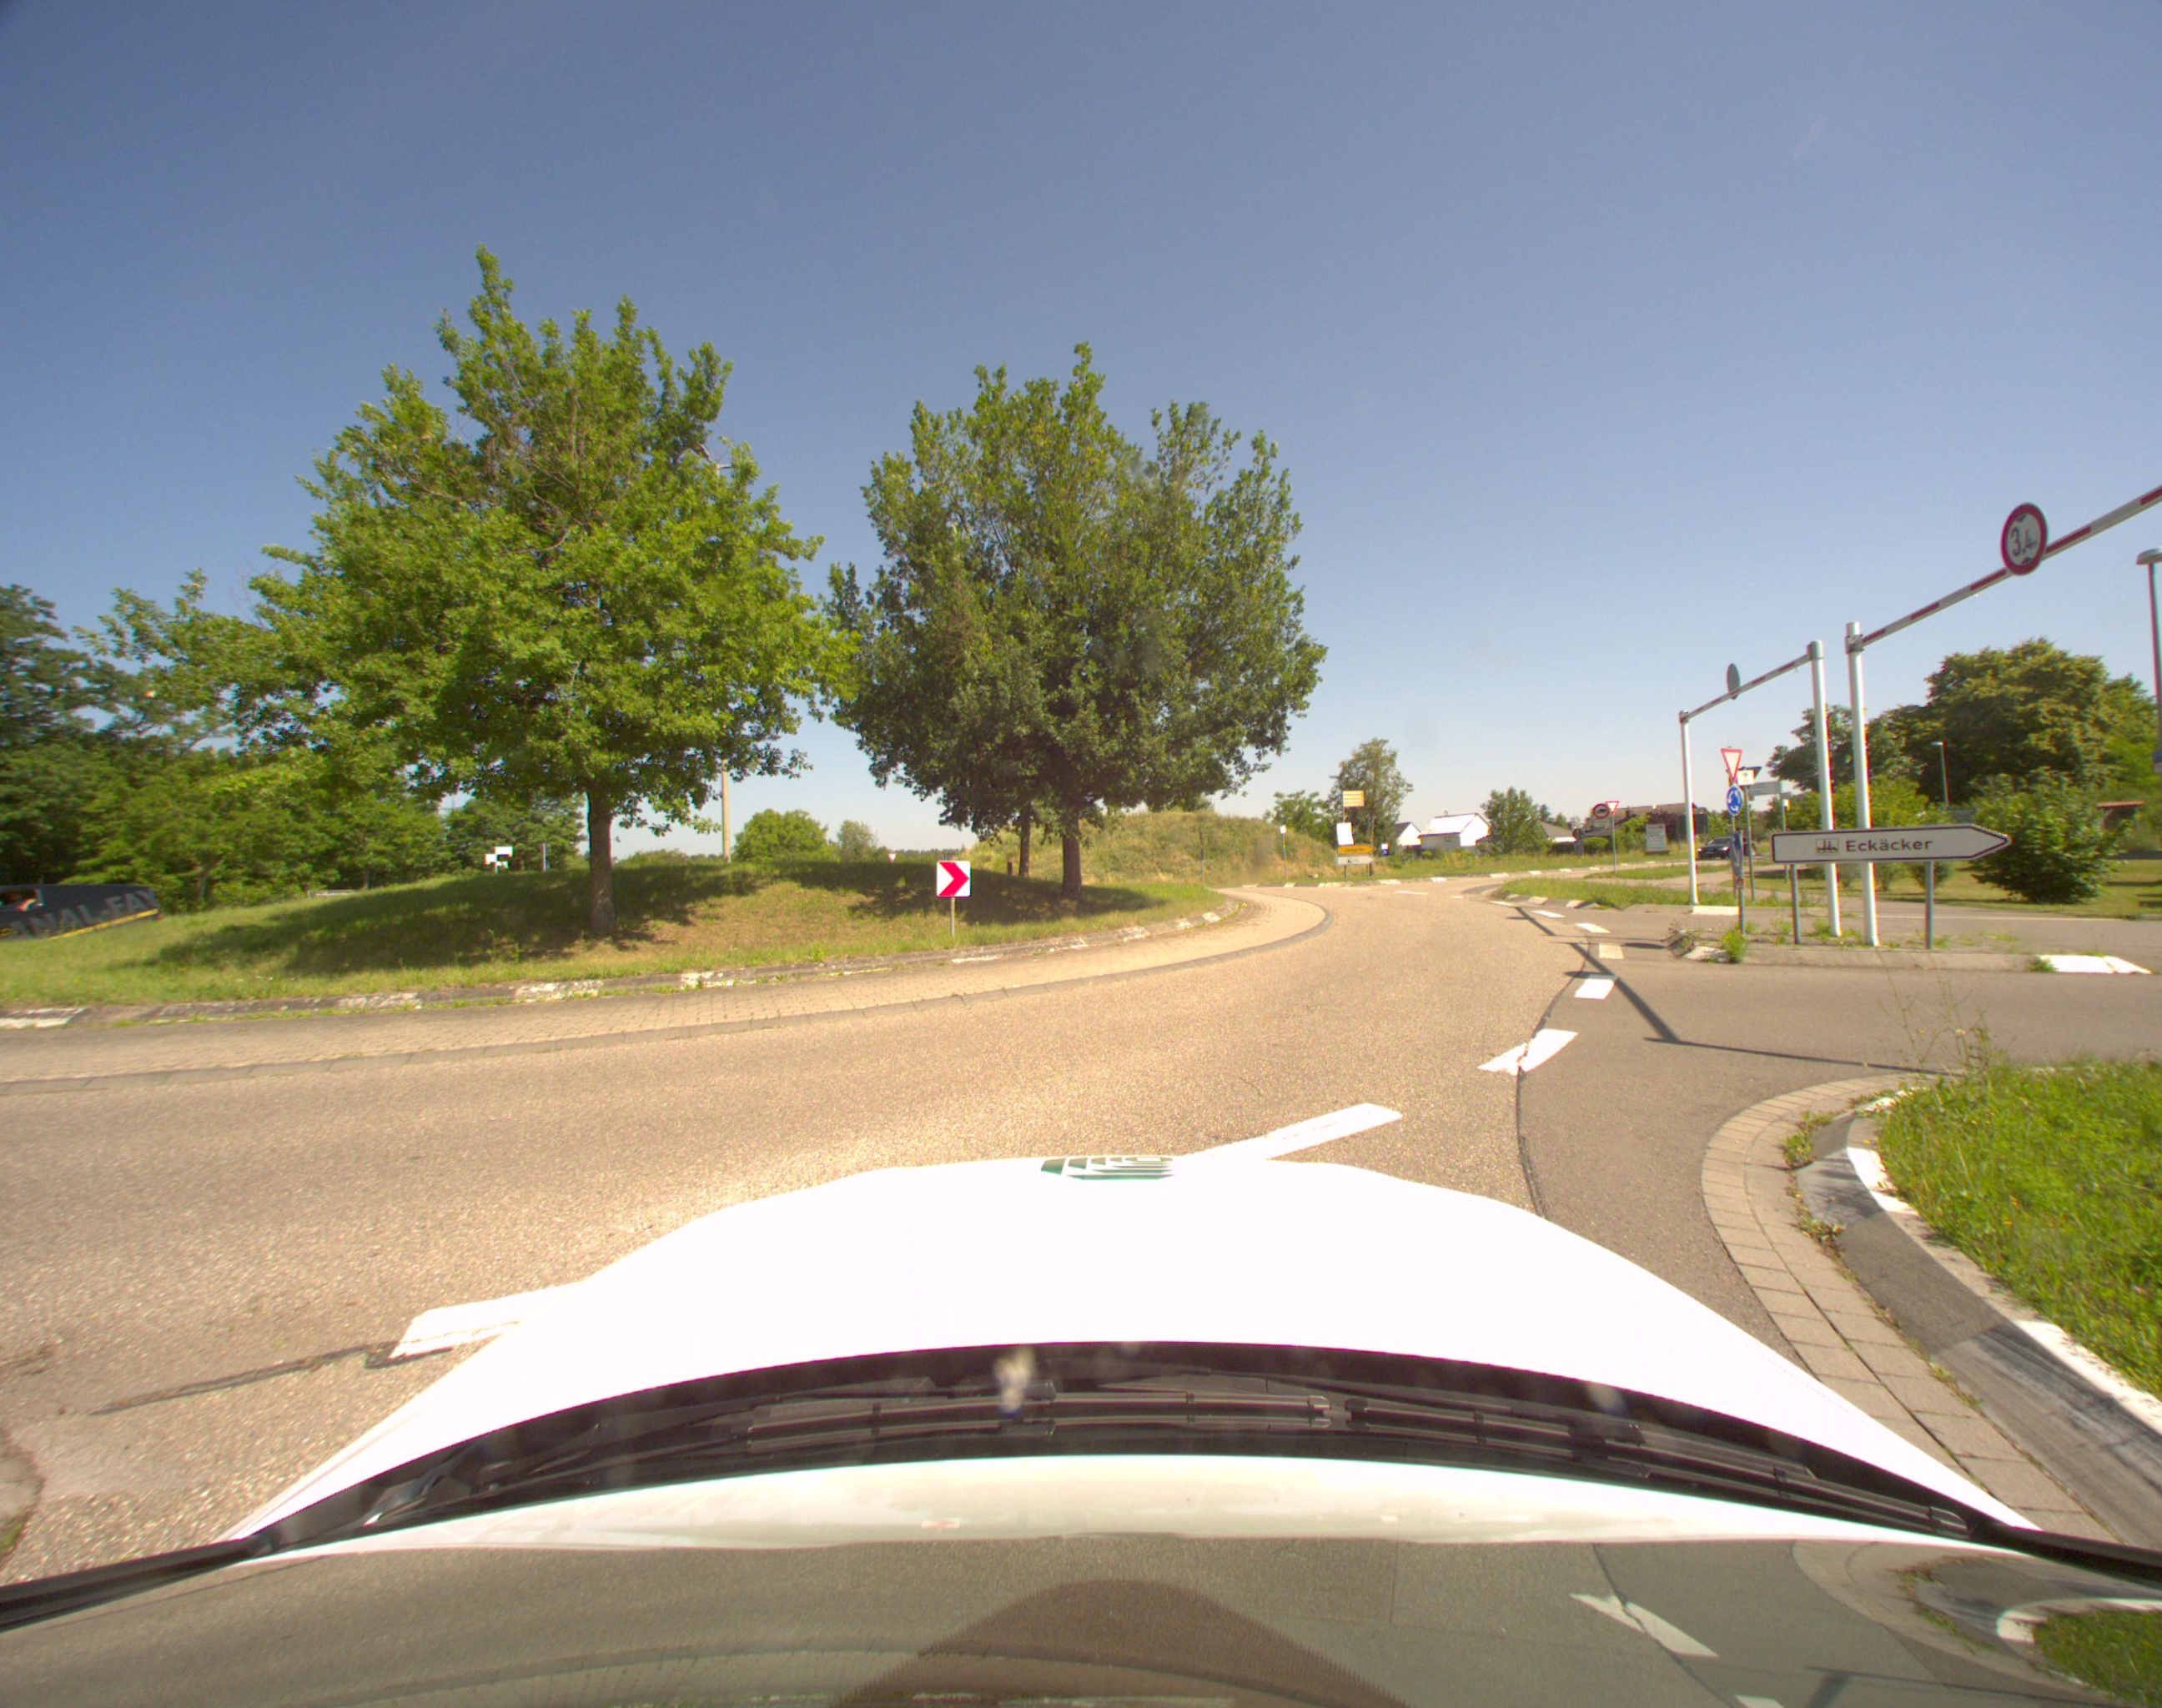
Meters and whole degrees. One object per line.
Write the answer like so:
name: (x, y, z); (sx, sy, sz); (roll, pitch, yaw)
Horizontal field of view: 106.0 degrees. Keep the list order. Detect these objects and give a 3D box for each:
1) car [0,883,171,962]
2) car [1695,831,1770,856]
car: (-25.976, 1.680, 19.823); (2.084, 1.714, 4.725); (-2, 0, 6)
car: (43.180, -0.697, 53.957); (4.922, 1.434, 1.907); (-2, -4, -26)
